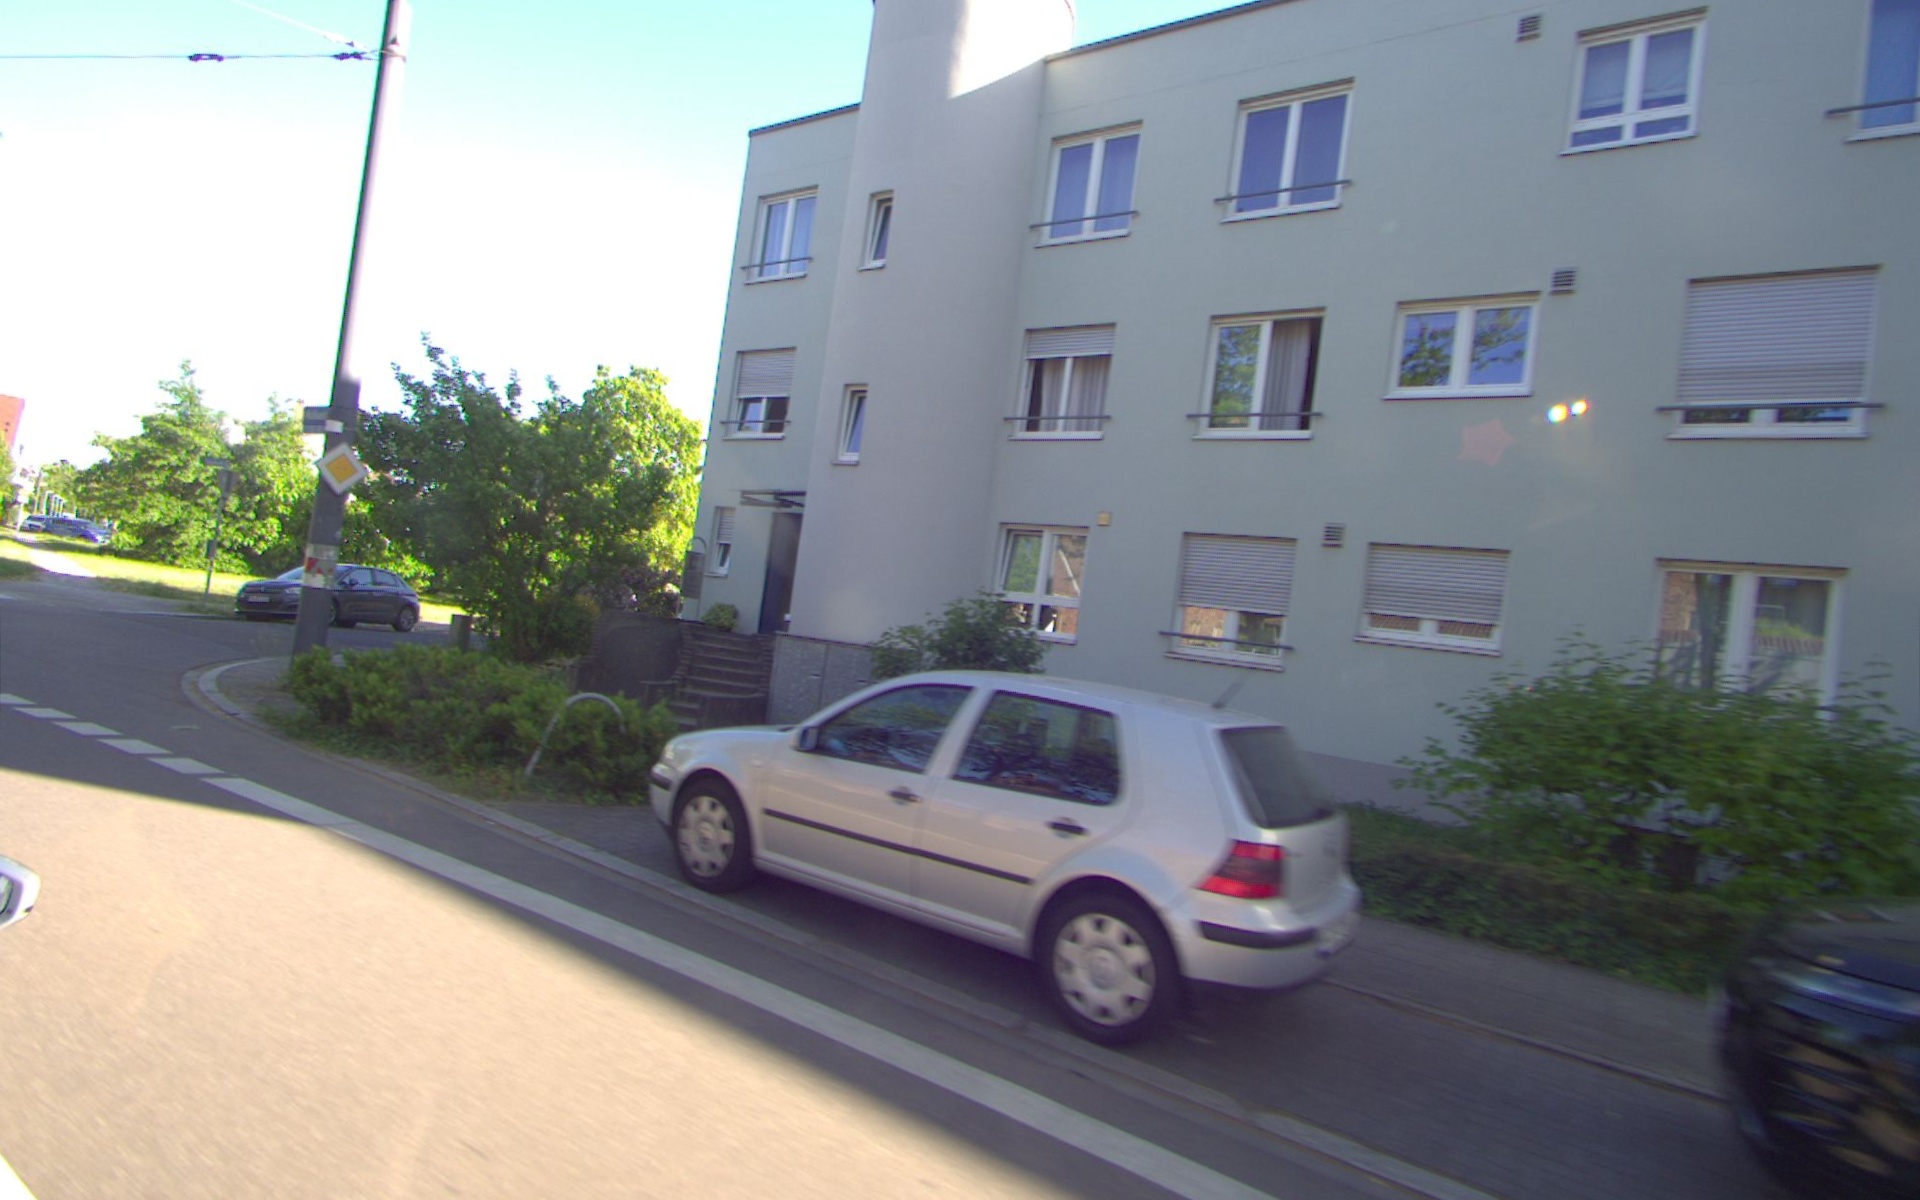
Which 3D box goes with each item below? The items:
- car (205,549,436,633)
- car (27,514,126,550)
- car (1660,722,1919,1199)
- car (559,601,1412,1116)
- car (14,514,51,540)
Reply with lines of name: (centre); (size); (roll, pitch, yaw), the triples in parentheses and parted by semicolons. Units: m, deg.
car: (-14.382, -0.121, 22.998); (1.970, 1.507, 4.468); (4, -3, 7)
car: (-57.285, -4.416, 65.256); (4.666, 1.487, 2.068); (7, -2, 6)
car: (4.582, 1.461, 2.495); (4.529, 1.635, 1.995); (6, -2, 36)
car: (-0.081, 1.045, 5.676); (4.458, 1.512, 1.741); (6, -3, 35)
car: (-78.247, -6.155, 84.914); (2.040, 1.727, 4.238); (10, -3, -42)
